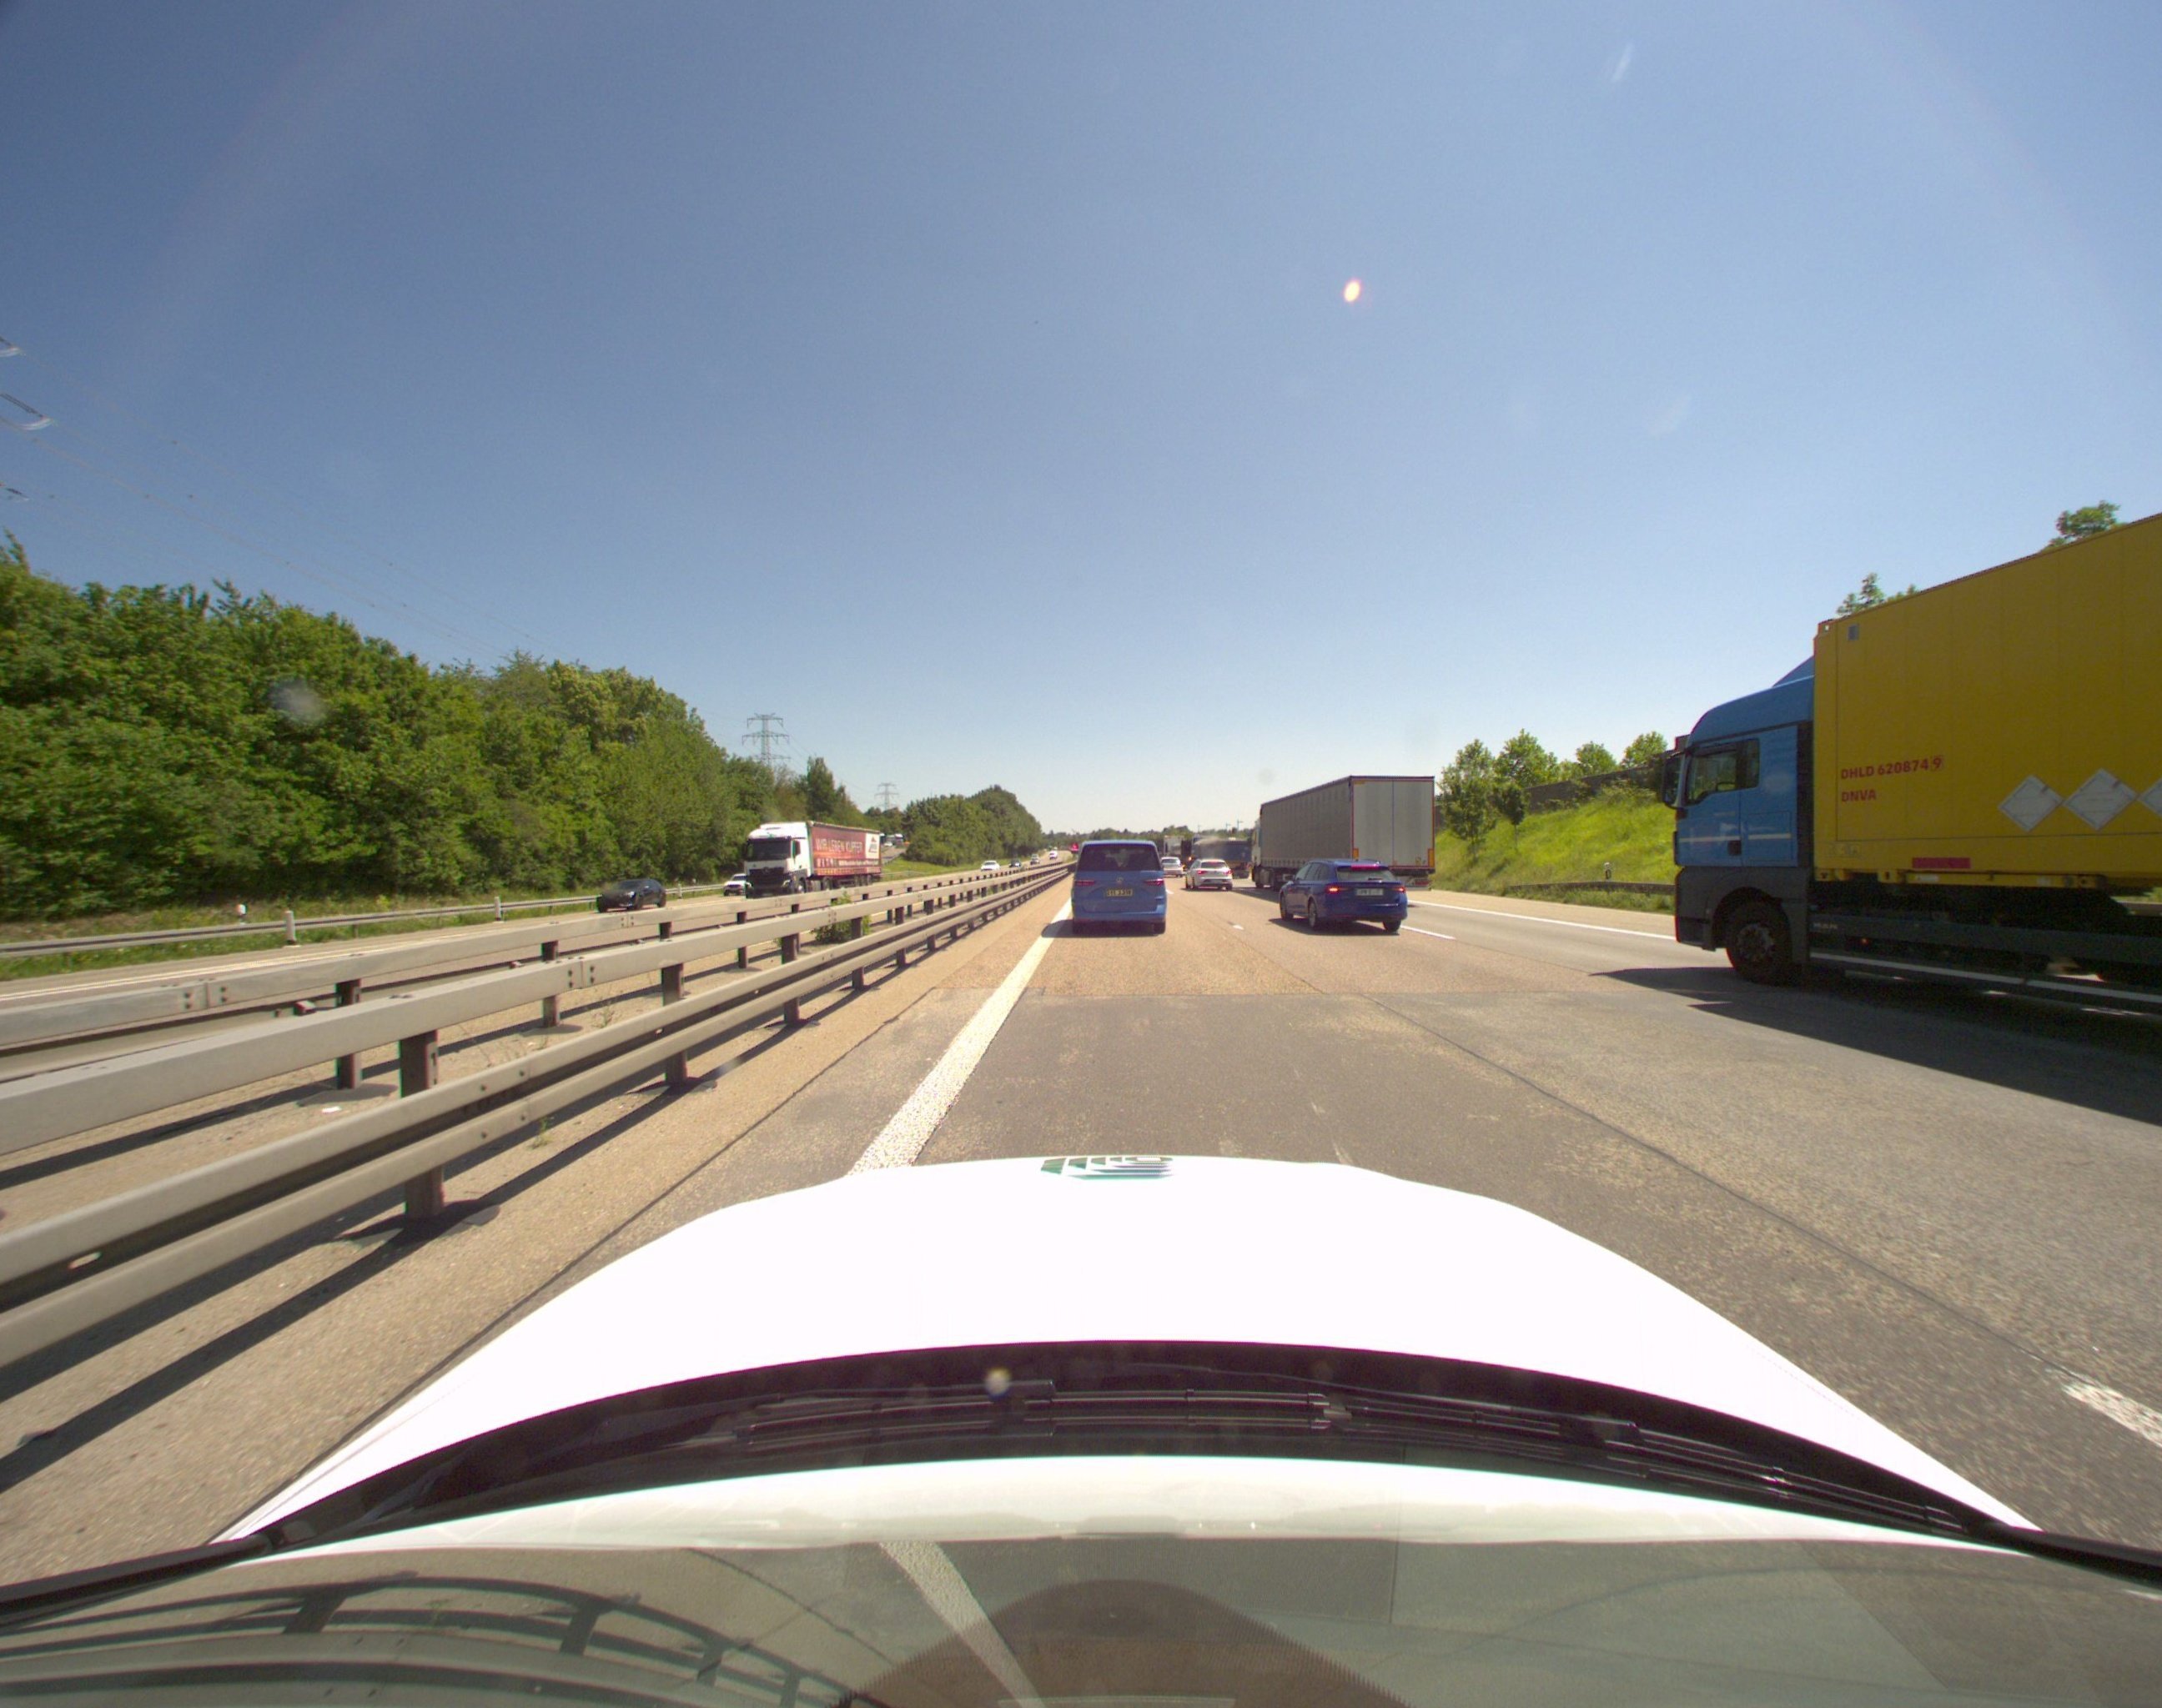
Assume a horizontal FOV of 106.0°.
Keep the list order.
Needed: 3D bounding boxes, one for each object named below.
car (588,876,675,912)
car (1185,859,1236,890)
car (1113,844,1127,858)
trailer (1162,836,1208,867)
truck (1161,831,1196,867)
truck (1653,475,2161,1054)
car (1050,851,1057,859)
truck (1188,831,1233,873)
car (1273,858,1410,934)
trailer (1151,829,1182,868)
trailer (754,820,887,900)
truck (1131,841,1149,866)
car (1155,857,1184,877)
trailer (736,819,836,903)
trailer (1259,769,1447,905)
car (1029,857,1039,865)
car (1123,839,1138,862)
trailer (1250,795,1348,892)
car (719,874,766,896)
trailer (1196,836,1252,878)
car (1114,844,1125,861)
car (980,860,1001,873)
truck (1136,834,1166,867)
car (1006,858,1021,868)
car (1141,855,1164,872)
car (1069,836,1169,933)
[{"bbox_3d":[-21.859,1.899,39.873,1.993,1.576,5.258,0,-1,-9],"label":"car"},{"bbox_3d":[5.882,0.899,37.416,1.860,1.361,4.003,0,0,3],"label":"car"},{"bbox_3d":[7.756,-0.544,162.501,2.542,2.717,5.622,0,-1,1],"label":"car"},{"bbox_3d":[11.070,-0.153,88.337,3.632,3.079,15.781,0,-1,3],"label":"trailer"},{"bbox_3d":[11.499,-0.485,96.955,3.612,4.095,7.527,0,-1,2],"label":"truck"},{"bbox_3d":[9.045,-0.629,6.132,2.755,4.109,9.956,0,0,2],"label":"truck"},{"bbox_3d":[-8.783,0.390,260.269,2.045,2.651,5.839,1,-1,1],"label":"car"},{"bbox_3d":[10.520,-0.186,66.941,2.734,3.311,7.135,0,1,1],"label":"truck"},{"bbox_3d":[5.488,0.828,17.733,1.700,1.441,4.429,0,-1,2],"label":"car"},{"bbox_3d":[11.785,-0.684,113.598,3.631,5.136,13.086,0,-1,3],"label":"trailer"},{"bbox_3d":[-15.115,0.303,49.104,2.753,3.976,14.685,-3,0,1],"label":"trailer"},{"bbox_3d":[11.778,-0.081,164.134,3.057,4.920,10.691,0,-1,1],"label":"truck"},{"bbox_3d":[6.507,0.941,60.341,1.834,1.454,4.001,0,-1,1],"label":"car"},{"bbox_3d":[-15.299,0.320,42.737,2.747,3.976,6.133,-3,0,1],"label":"trailer"},{"bbox_3d":[9.621,-0.480,31.182,2.951,4.049,13.756,0,0,2],"label":"trailer"},{"bbox_3d":[-9.276,1.410,161.360,1.767,1.631,3.950,0,-1,0],"label":"car"},{"bbox_3d":[12.067,-0.790,199.410,3.206,5.257,8.146,0,-1,1],"label":"car"},{"bbox_3d":[9.805,-0.445,37.379,2.914,4.044,6.412,0,0,1],"label":"trailer"},{"bbox_3d":[-24.021,2.177,57.942,1.681,1.456,4.342,0,-1,-2],"label":"car"},{"bbox_3d":[10.291,0.180,59.556,2.733,2.836,9.119,0,1,1],"label":"trailer"},{"bbox_3d":[12.158,-0.363,257.461,3.209,5.257,8.140,0,-1,-1],"label":"car"},{"bbox_3d":[-10.361,1.439,93.366,1.844,1.467,4.304,-2,-1,0],"label":"car"},{"bbox_3d":[11.664,-0.420,137.179,3.610,5.213,15.685,0,-1,0],"label":"truck"},{"bbox_3d":[-10.413,1.361,125.201,1.870,1.446,4.144,-2,-1,0],"label":"car"},{"bbox_3d":[6.328,0.851,72.282,1.774,1.524,4.000,0,-1,1],"label":"car"},{"bbox_3d":[0.817,0.612,17.547,1.894,1.838,4.002,0,-1,3],"label":"car"}]
